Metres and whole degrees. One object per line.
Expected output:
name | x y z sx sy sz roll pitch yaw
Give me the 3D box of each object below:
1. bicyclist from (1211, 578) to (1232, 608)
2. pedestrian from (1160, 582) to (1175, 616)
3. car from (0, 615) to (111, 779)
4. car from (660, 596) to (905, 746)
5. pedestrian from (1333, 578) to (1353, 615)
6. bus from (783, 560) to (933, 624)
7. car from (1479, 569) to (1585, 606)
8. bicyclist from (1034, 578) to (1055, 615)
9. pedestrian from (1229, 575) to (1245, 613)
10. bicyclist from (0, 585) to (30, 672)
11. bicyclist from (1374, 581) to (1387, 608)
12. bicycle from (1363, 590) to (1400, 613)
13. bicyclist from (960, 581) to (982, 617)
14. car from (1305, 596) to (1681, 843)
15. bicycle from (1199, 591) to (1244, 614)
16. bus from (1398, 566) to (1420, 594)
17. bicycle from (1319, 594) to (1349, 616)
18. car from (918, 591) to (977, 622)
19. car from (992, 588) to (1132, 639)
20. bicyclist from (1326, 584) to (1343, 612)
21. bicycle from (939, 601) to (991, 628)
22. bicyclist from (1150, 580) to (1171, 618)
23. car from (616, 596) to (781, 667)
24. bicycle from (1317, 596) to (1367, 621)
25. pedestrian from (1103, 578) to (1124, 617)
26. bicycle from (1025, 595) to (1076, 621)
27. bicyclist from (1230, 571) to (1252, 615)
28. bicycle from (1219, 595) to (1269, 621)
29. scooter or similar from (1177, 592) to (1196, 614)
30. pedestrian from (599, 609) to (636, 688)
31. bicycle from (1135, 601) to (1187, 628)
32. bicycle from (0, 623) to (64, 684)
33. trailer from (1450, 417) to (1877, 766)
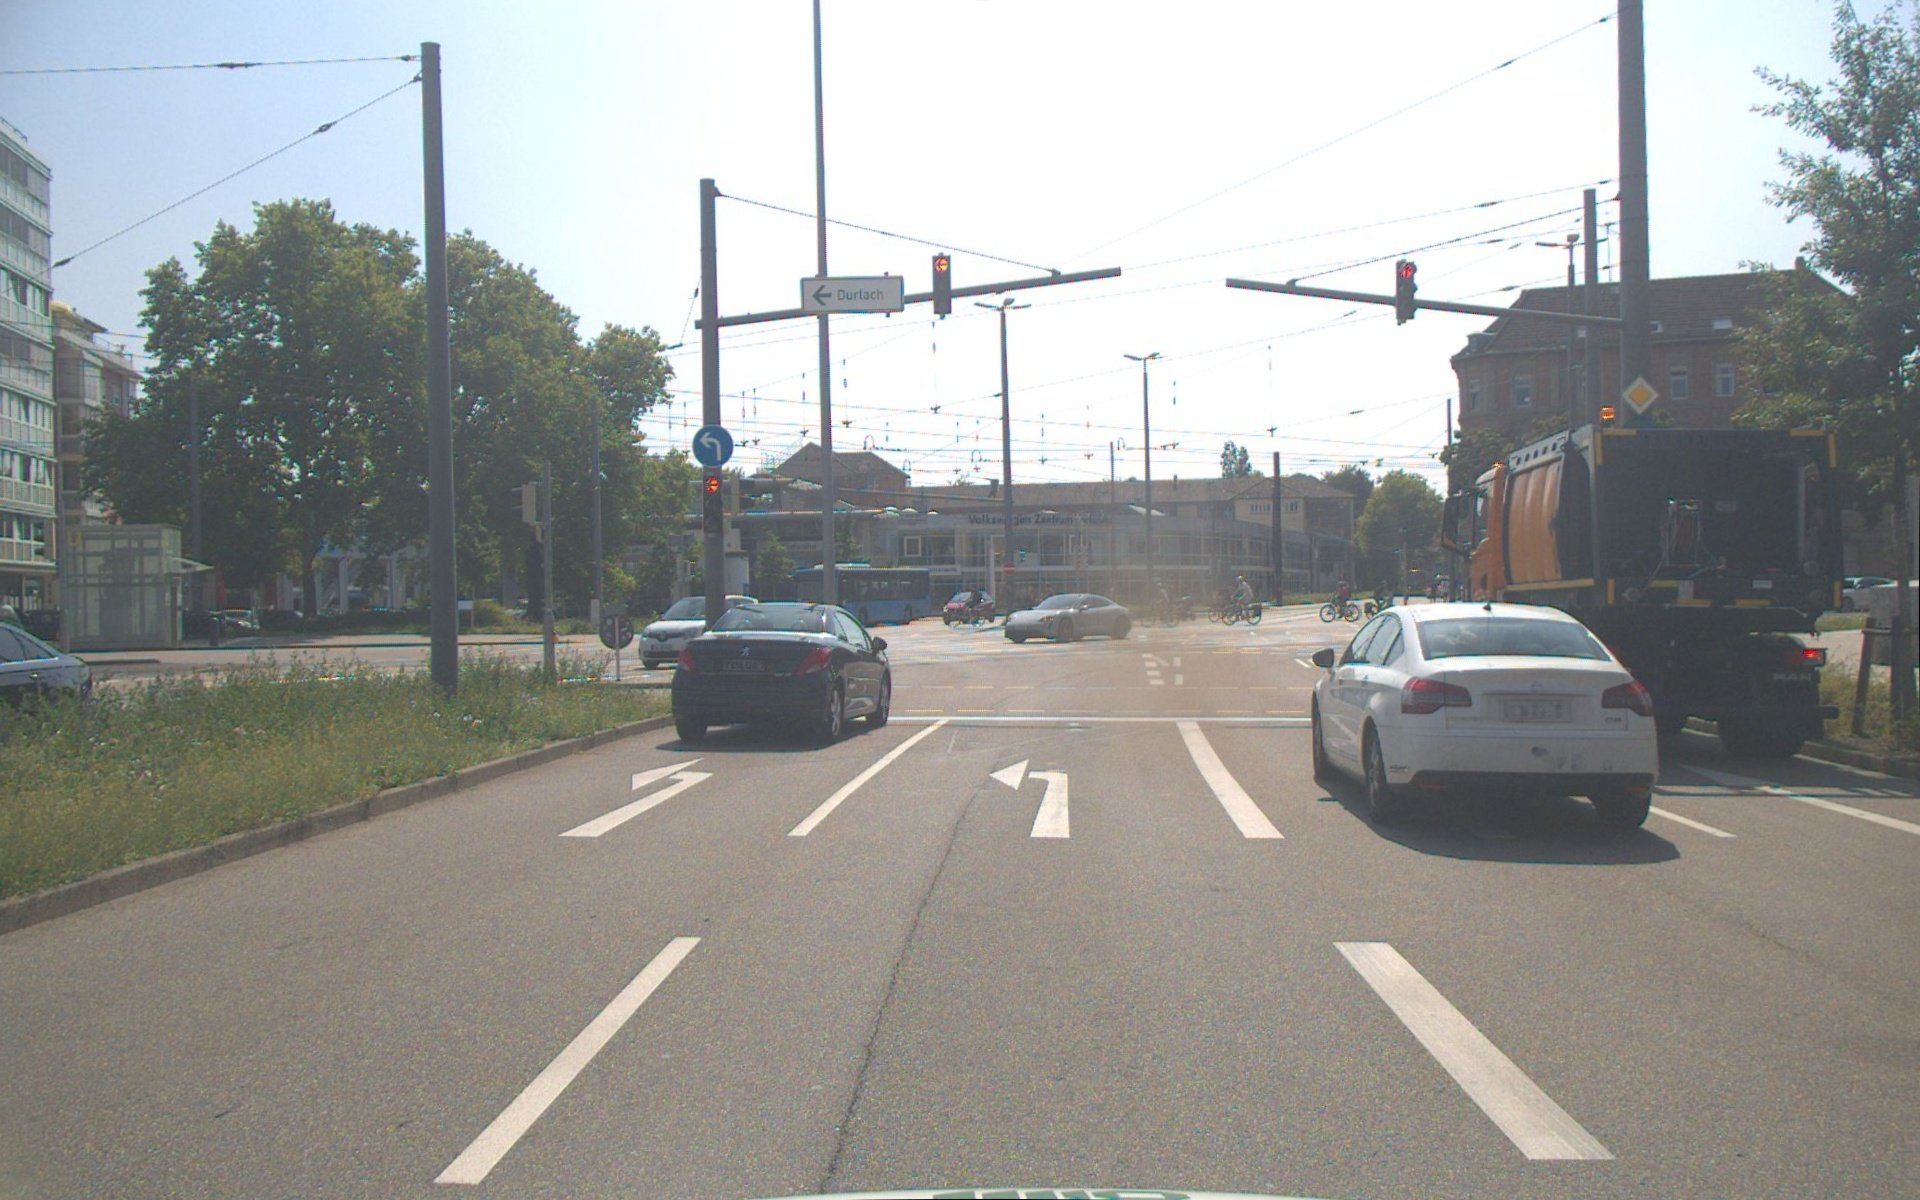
bicyclist | 11.920 -0.327 75.334 0.658 1.374 0.707 -1 0 -21
pedestrian | 9.715 -0.053 77.553 0.622 1.588 0.748 -1 0 1
car | -9.407 0.878 14.342 1.734 1.435 4.765 0 0 -2
car | -1.798 0.688 18.071 1.720 1.429 3.984 0 0 8
pedestrian | 16.267 -0.164 70.224 0.649 1.561 0.714 -1 0 27
bus | -4.955 -0.426 83.711 2.990 2.982 11.855 -1 0 20
car | 23.926 -0.512 69.274 3.820 1.444 1.731 -1 0 -7
bicyclist | 3.789 -0.151 74.177 0.748 1.662 0.761 -1 0 -11
pedestrian | 13.005 -0.276 77.741 0.609 1.782 0.628 -1 0 0
bicyclist | -18.732 0.553 32.468 0.680 1.679 0.616 -1 0 41
bicyclist | 18.940 -0.266 74.543 0.493 1.209 0.507 -1 0 21
bicycle | 18.978 0.056 74.526 1.558 1.002 0.507 -1 0 21
bicyclist | 0.480 -0.037 73.202 0.784 1.568 0.760 -1 0 -15
car | 3.719 0.723 12.332 1.721 1.480 4.428 0 0 5
bicycle | 11.921 0.111 75.332 1.949 1.036 0.710 -1 0 -21
bus | 58.627 -2.576 215.859 2.507 3.567 7.806 -1 0 16
bicycle | 17.368 0.224 76.797 1.581 1.002 0.500 -1 0 -40
car | -0.568 0.302 80.295 1.692 1.444 3.842 -1 0 19
car | 3.130 0.383 49.942 1.910 1.424 4.563 -1 0 39
bicyclist | 17.395 -0.081 76.826 0.590 1.269 0.500 -1 0 -39
bicycle | 0.214 0.631 73.137 2.160 1.106 0.760 -1 0 -15
bicyclist | 8.173 -0.042 67.527 0.652 1.535 0.712 -1 0 -12
car | -5.758 0.678 36.904 1.734 1.450 4.066 -1 0 23
bicycle | 16.224 0.351 70.253 1.940 1.036 0.714 -1 0 28
pedestrian | 7.069 -0.132 76.387 0.767 1.782 0.809 -1 0 19
bicycle | 4.049 0.350 74.226 2.158 1.106 0.761 -1 0 -12
bicyclist | 11.690 -0.287 68.824 0.690 1.794 0.713 -1 0 -7
bicycle | 11.814 0.323 68.842 1.940 1.036 0.713 -1 0 -7
scooter or similar | 10.608 0.139 77.473 0.818 0.991 0.793 -1 0 3
pedestrian | -5.847 0.822 28.210 0.585 1.290 0.503 -1 2 -14
bicycle | 8.208 0.590 67.534 1.943 1.036 0.712 -1 0 -12
bicycle | -18.772 1.053 32.415 0.686 1.156 2.033 -1 0 40
trailer | 7.132 -0.109 17.769 2.411 3.060 6.329 0 0 5
